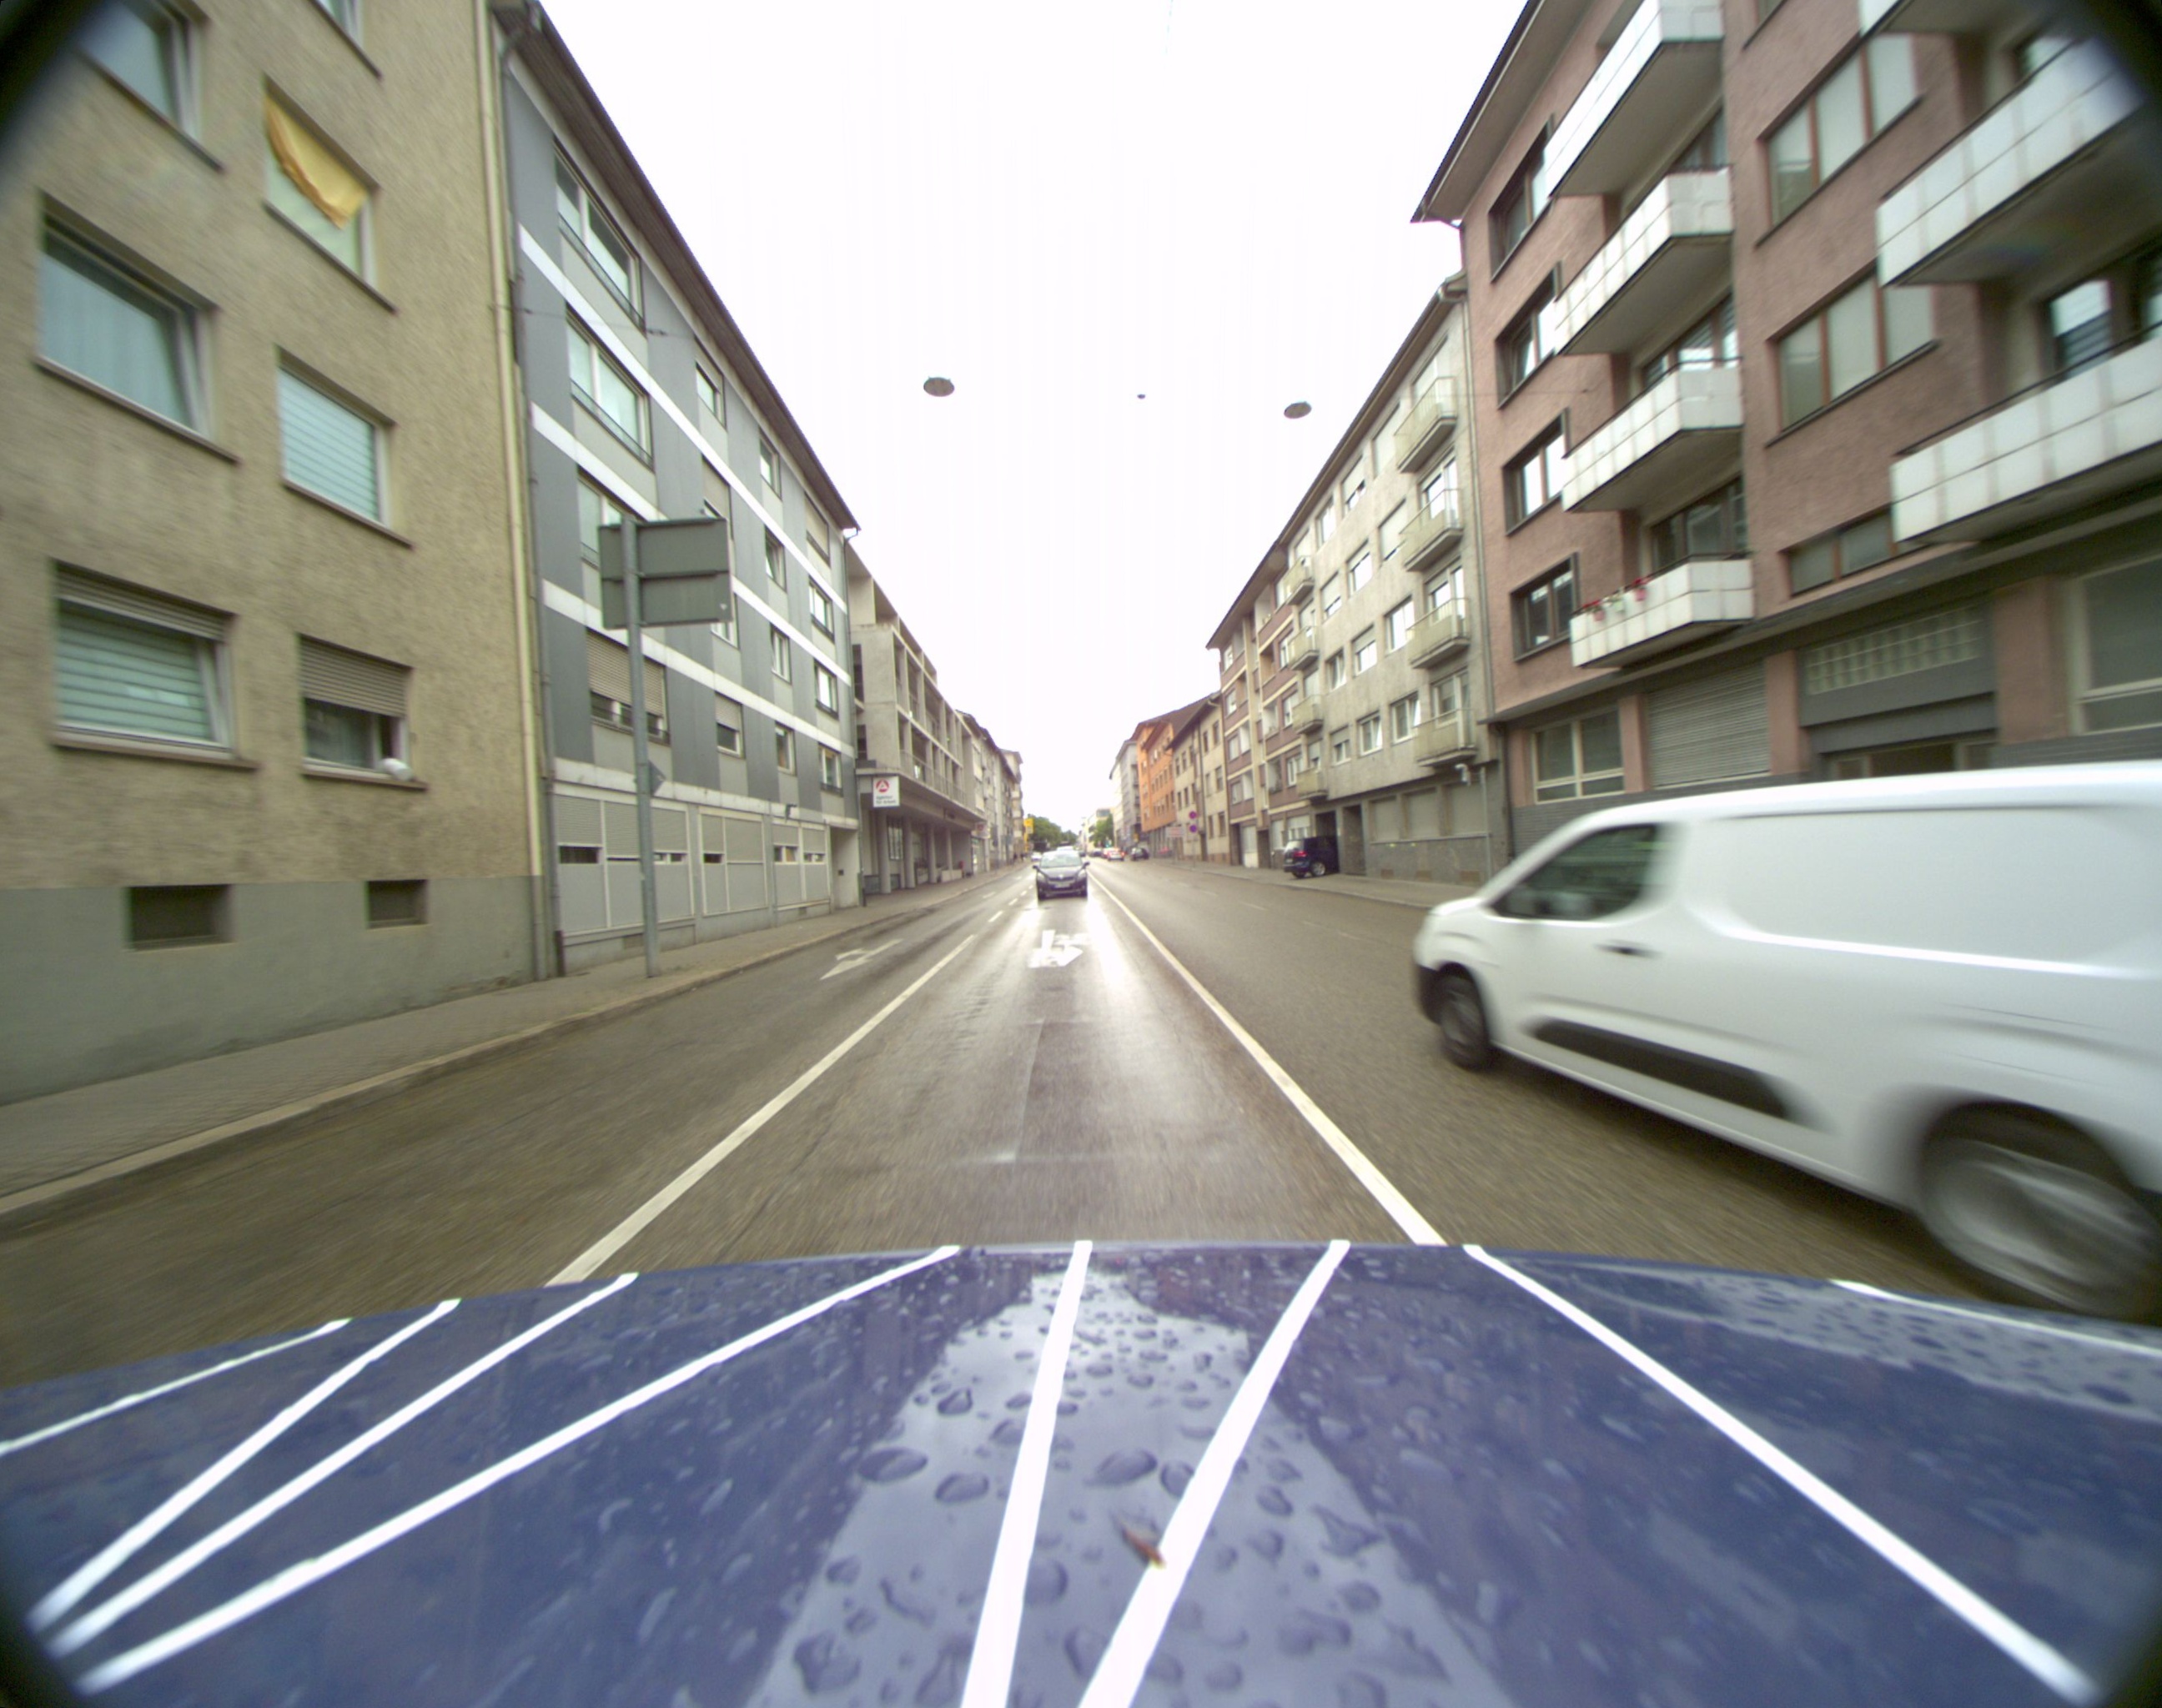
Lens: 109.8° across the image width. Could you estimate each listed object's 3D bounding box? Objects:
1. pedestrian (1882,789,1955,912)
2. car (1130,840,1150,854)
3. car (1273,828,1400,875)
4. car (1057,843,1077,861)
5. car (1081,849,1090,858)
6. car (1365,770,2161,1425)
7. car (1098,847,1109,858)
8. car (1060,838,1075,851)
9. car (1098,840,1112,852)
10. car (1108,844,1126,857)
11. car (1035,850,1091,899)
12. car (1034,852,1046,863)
[{"bbox_3d":[11.106,-0.060,10.089,0.451,1.551,0.528,-8,7,-26],"label":"pedestrian"},{"bbox_3d":[6.766,-0.767,87.310,1.708,1.447,3.803,-4,1,-4],"label":"car"},{"bbox_3d":[10.180,-0.118,30.462,4.307,1.566,1.999,-4,1,-4],"label":"car"},{"bbox_3d":[-1.391,-0.213,76.896,1.722,1.652,3.678,-4,1,1],"label":"car"},{"bbox_3d":[0.854,-0.085,144.834,1.722,1.652,3.678,-4,1,1],"label":"car"},{"bbox_3d":[3.450,0.626,3.821,1.812,1.705,4.542,0,0,-9],"label":"car"},{"bbox_3d":[3.665,-0.226,125.252,1.722,1.652,3.678,-4,1,1],"label":"car"},{"bbox_3d":[-1.943,-1.324,107.249,1.851,1.652,3.678,-4,1,1],"label":"car"},{"bbox_3d":[3.432,-1.191,109.185,1.722,1.652,3.678,-4,1,1],"label":"car"},{"bbox_3d":[4.216,-0.414,89.696,1.732,1.452,4.070,-1,1,-2],"label":"car"},{"bbox_3d":[-0.669,0.694,27.488,1.732,1.472,4.072,-6,0,-2],"label":"car"},{"bbox_3d":[-6.966,0.609,129.914,1.722,1.652,3.678,-4,1,1],"label":"car"}]
